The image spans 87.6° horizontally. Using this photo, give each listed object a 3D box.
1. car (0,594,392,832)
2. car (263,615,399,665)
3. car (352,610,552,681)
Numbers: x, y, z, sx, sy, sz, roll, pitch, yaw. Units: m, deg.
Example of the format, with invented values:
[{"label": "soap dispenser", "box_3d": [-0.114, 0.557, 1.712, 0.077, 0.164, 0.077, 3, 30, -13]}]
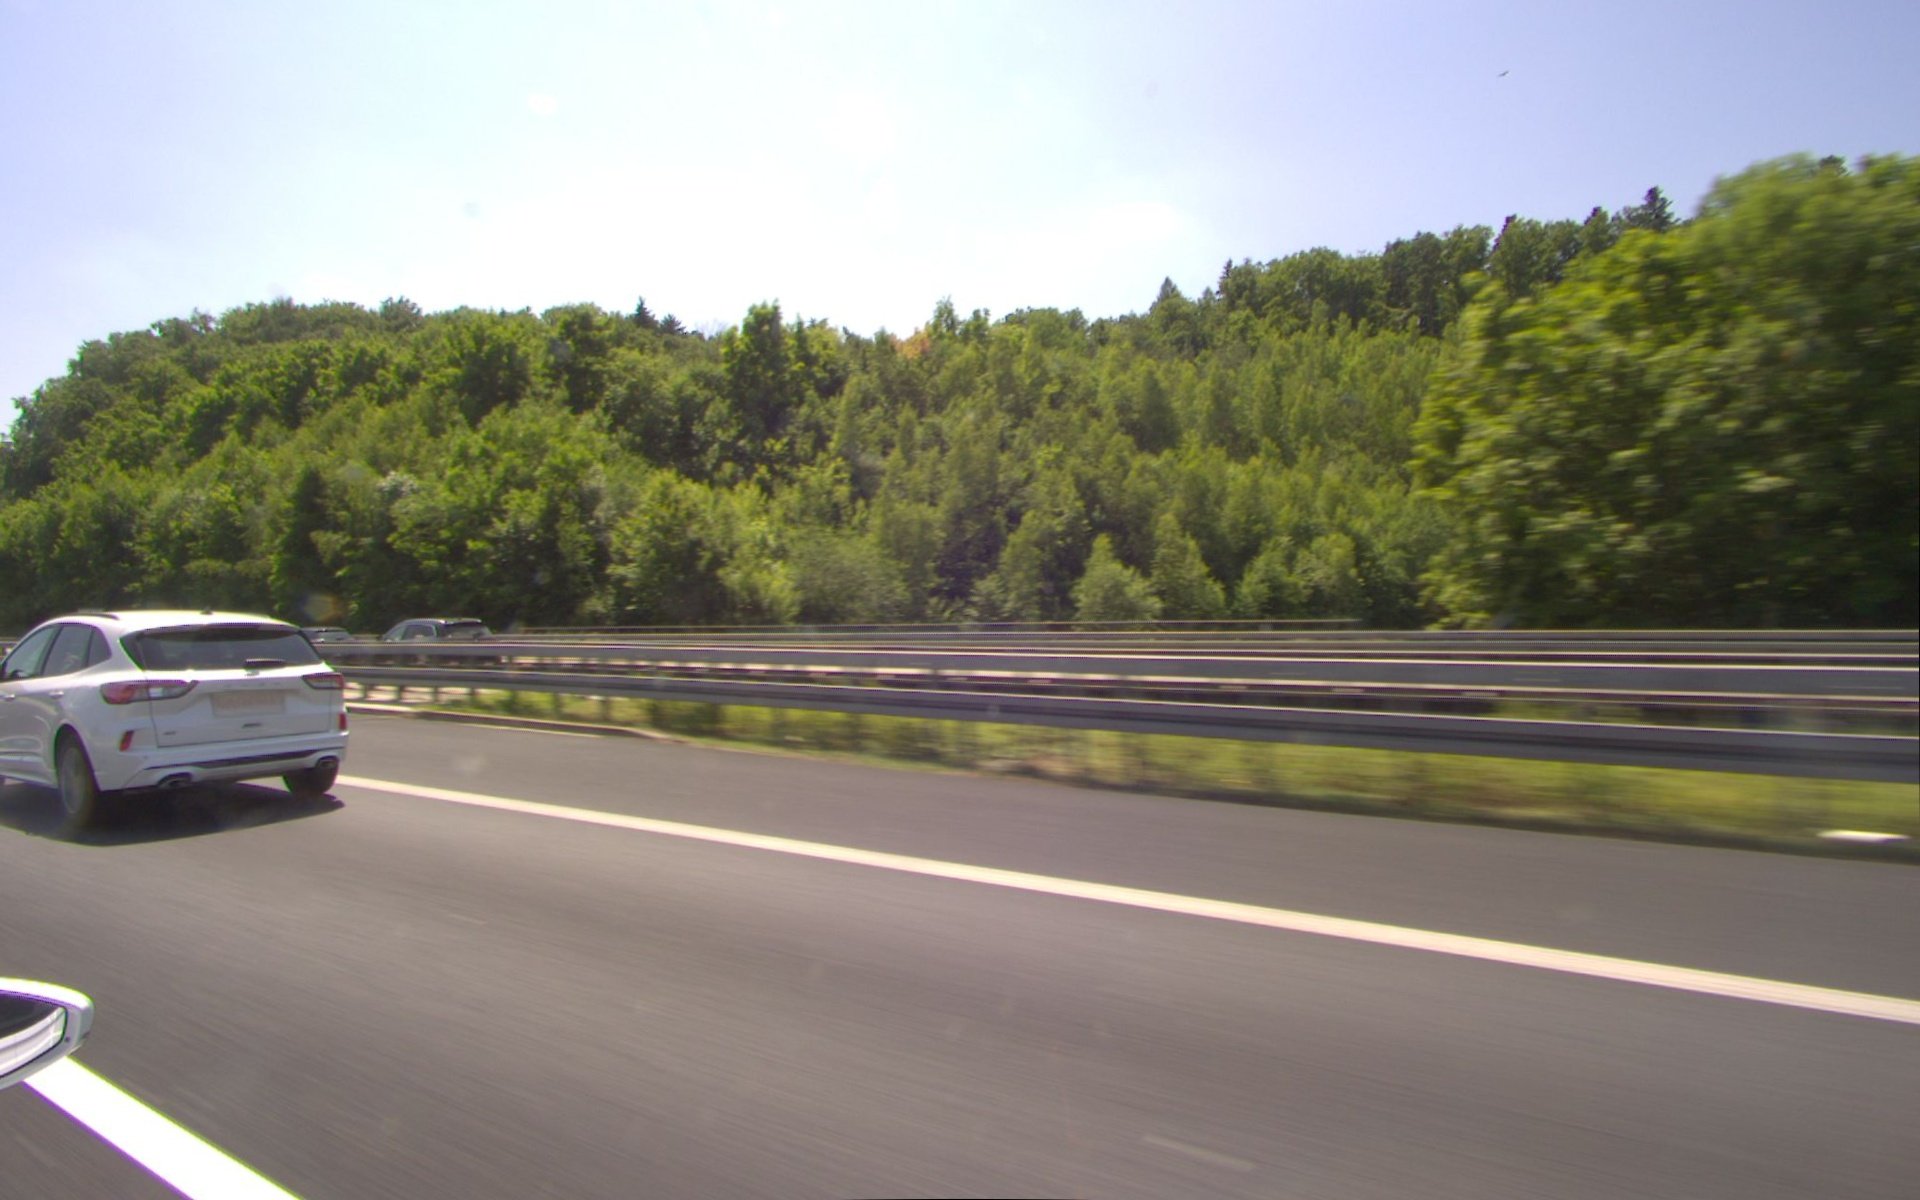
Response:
[{"label": "car", "box_3d": [-7.362, 0.877, 9.116, 4.405, 1.683, 1.990, -2, -1, 32]}, {"label": "car", "box_3d": [-22.663, 1.420, 36.030, 5.149, 1.683, 1.991, -1, -1, 30]}, {"label": "car", "box_3d": [-13.202, 1.160, 25.912, 5.545, 1.683, 1.990, -2, -1, 31]}]
